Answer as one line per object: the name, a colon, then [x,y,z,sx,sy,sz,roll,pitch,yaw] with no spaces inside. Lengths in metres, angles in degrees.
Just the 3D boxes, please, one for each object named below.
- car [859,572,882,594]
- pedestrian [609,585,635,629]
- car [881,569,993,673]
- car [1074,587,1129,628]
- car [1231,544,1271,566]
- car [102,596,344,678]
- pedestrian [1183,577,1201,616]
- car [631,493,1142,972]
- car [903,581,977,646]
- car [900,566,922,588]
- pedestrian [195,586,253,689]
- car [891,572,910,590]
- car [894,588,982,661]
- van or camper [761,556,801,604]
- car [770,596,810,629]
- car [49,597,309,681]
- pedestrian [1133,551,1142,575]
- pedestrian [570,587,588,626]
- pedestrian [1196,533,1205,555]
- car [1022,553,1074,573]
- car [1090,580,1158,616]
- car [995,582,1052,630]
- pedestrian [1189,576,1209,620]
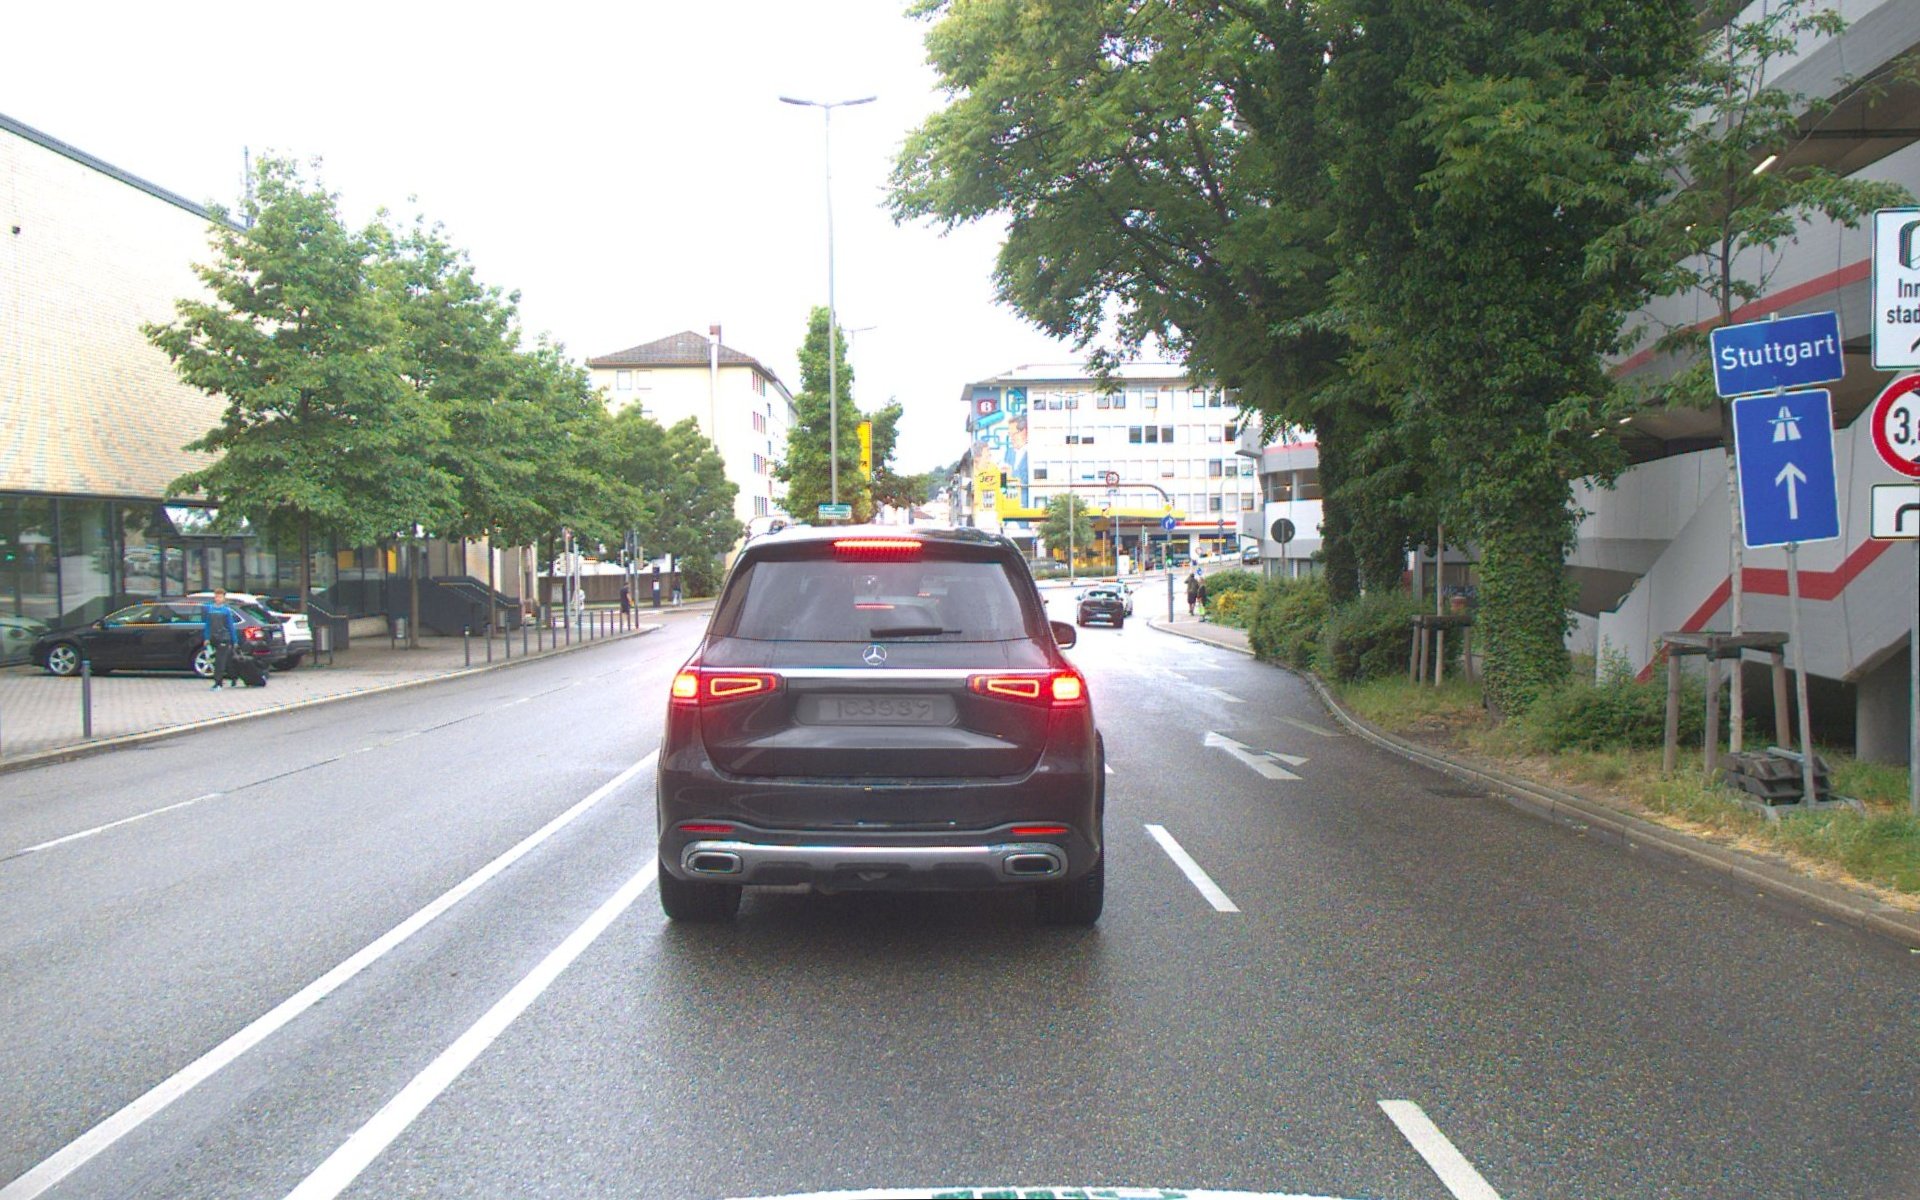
car: [-7.541,-1.403,138.853,1.868,1.733,3.997,1,0,-4]
pedestrian: [-13.529,0.275,66.206,0.931,1.734,0.709,1,-1,-18]
car: [-0.439,0.384,31.492,1.953,1.832,3.999,1,0,-1]
car: [5.437,0.298,63.938,1.905,1.512,4.001,1,0,3]
car: [24.425,-3.796,138.715,1.958,1.735,3.990,-1,1,33]
car: [-15.262,0.753,34.399,4.090,1.574,2.000,1,0,0]
pedestrian: [10.215,-0.162,72.811,0.703,1.720,0.455,1,-1,-7]
car: [-0.310,0.524,8.428,1.953,1.832,3.999,1,0,-1]
car: [-0.532,0.349,44.266,1.869,1.614,3.999,1,0,-1]
car: [-4.782,-2.236,161.943,1.953,2.049,4.000,1,0,0]
pedestrian: [-12.674,0.637,28.491,0.621,1.744,0.705,1,-1,2]
car: [-6.809,-2.158,189.198,1.953,2.049,4.000,1,0,0]
car: [-0.498,0.537,37.711,1.869,1.527,3.999,1,0,-1]
van or camper: [-10.492,-1.137,97.166,2.061,2.627,5.903,-2,0,-4]
car: [-8.240,0.604,80.386,1.706,1.496,3.880,-2,0,-3]
car: [-15.059,0.747,32.099,4.097,1.521,1.997,1,0,-8]
pedestrian: [12.934,-2.662,120.545,0.560,1.727,0.631,1,-1,0]
pedestrian: [-16.815,0.279,73.076,0.630,1.695,1.017,1,0,-7]
pedestrian: [19.921,-4.628,137.023,0.515,1.757,0.689,0,1,26]
car: [6.836,-2.888,128.678,1.724,1.400,3.935,-3,1,-44]
car: [7.511,-0.086,75.408,1.720,1.576,3.994,1,0,28]
car: [2.182,0.173,58.101,1.759,1.552,4.055,1,1,-1]
pedestrian: [9.480,-0.063,65.518,0.634,1.740,0.470,0,-1,35]
